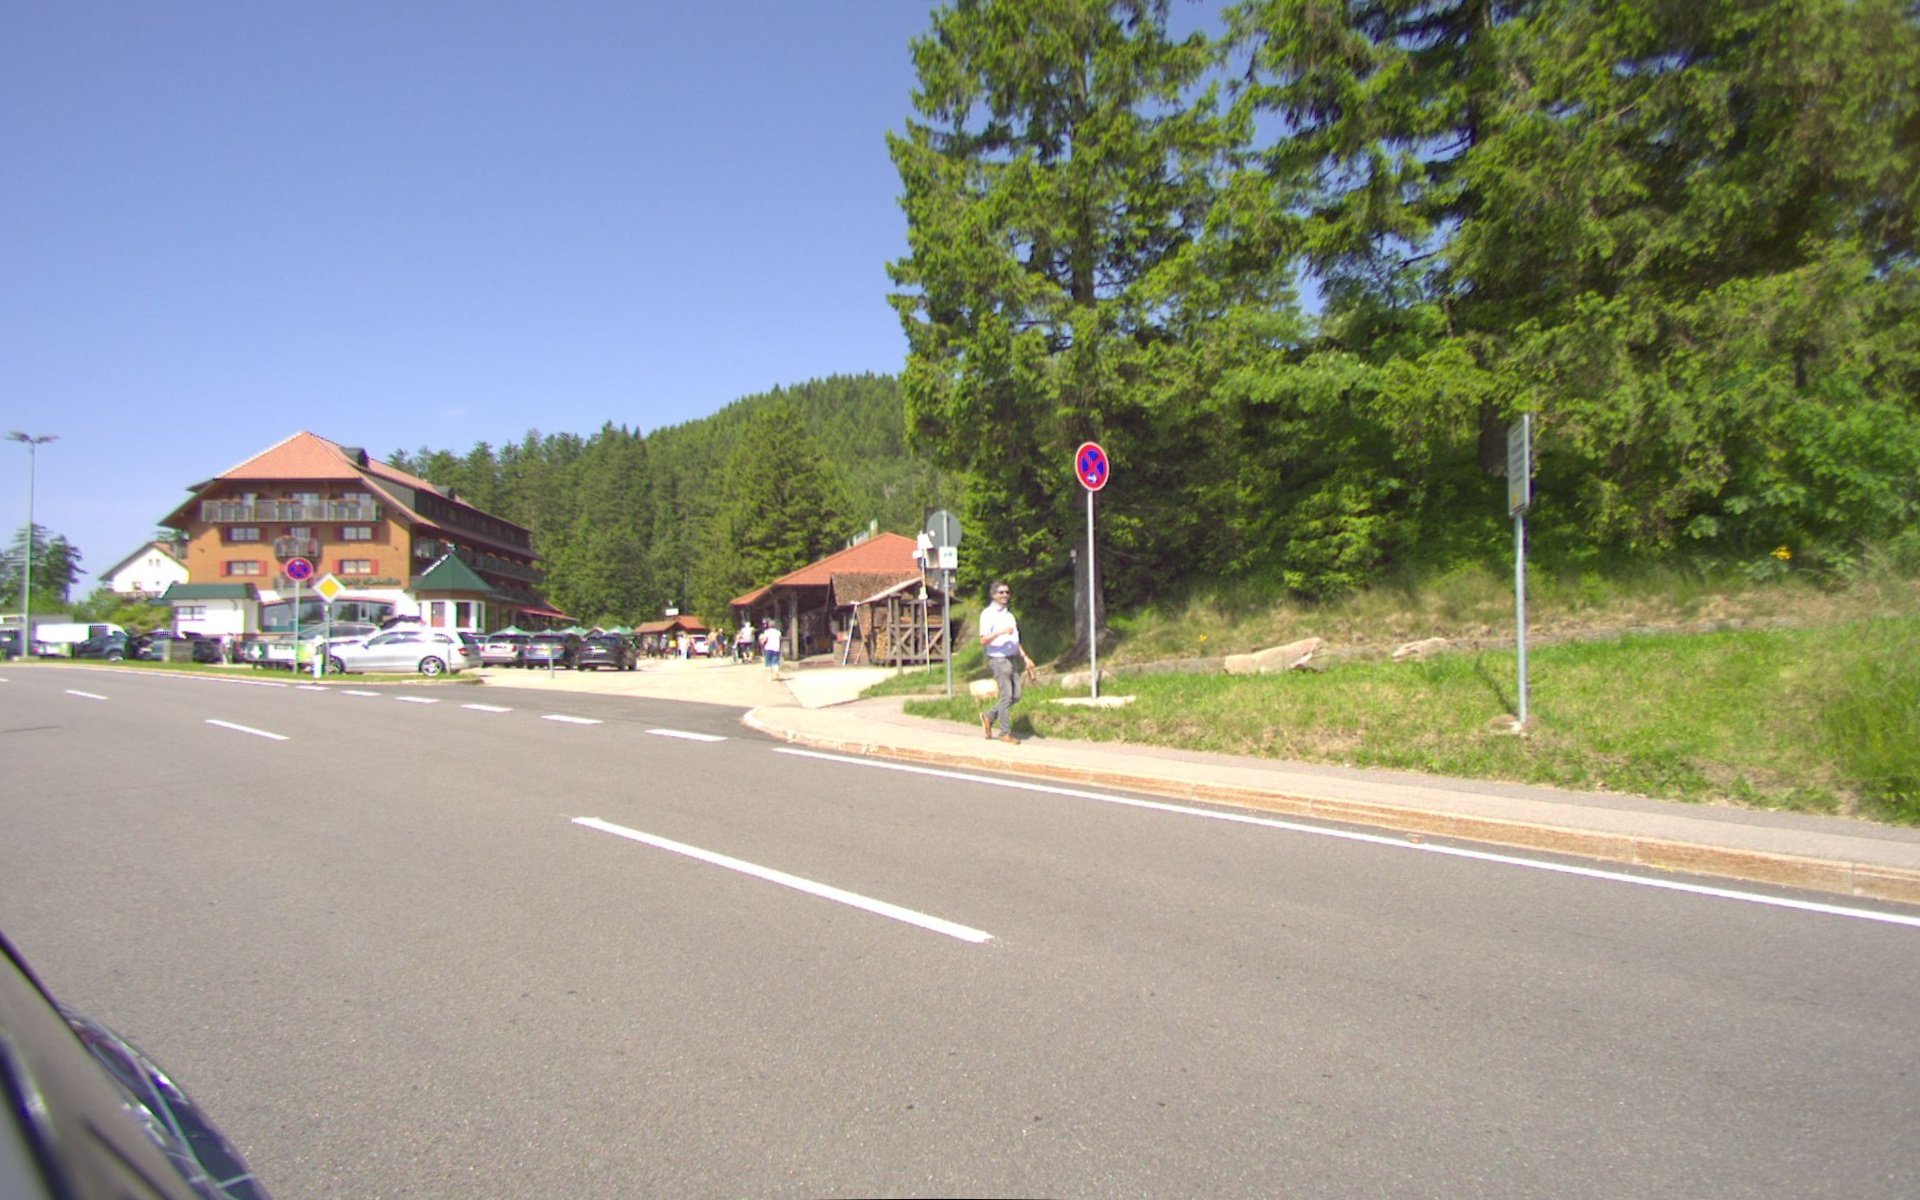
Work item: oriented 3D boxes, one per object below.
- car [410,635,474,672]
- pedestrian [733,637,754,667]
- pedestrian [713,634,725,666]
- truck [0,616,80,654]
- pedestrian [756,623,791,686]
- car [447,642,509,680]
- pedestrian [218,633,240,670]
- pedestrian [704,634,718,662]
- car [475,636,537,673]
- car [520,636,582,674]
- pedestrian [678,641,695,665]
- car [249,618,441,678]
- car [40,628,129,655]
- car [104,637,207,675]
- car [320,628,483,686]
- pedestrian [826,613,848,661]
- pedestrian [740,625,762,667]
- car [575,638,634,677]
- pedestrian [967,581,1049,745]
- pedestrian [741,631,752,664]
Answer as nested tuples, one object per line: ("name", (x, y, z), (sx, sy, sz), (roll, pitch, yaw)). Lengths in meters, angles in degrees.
("car", (-23.971, 2.461, 46.957), (1.688, 1.564, 3.140), (-1, -1, -8))
("pedestrian", (-8.983, 2.140, 41.894), (0.759, 1.206, 0.892), (0, -2, -18))
("pedestrian", (-13.597, 2.812, 57.104), (0.567, 1.779, 0.467), (-1, -1, 4))
("truck", (-75.573, 2.799, 82.033), (2.822, 2.851, 8.785), (-1, 0, -15))
("pedestrian", (-5.230, 1.517, 28.429), (0.899, 1.754, 0.637), (-1, -1, -3))
("car", (-21.602, 2.712, 45.465), (1.703, 1.476, 3.529), (-1, 0, -11))
("pedestrian", (-35.318, 2.477, 48.871), (0.768, 1.712, 0.684), (1, -2, -45))
("pedestrian", (-14.905, 2.860, 60.568), (0.674, 1.687, 0.533), (-1, -1, 4))
("car", (-19.193, 2.289, 42.901), (1.614, 1.445, 3.322), (0, -2, -10))
("car", (-16.548, 2.213, 41.070), (1.691, 1.445, 3.322), (0, -2, -10))
("pedestrian", (-17.447, 3.361, 64.634), (0.971, 1.507, 0.892), (0, -2, -19))
("car", (-20.796, 1.607, 34.487), (5.273, 1.884, 2.006), (0, -1, -16))
("car", (-68.601, 3.219, 79.343), (5.175, 1.920, 2.002), (0, -2, -43))
("car", (-36.488, 2.524, 45.948), (3.285, 1.604, 1.717), (-1, -1, -4))
("car", (-16.495, 1.647, 30.080), (3.899, 1.600, 1.794), (0, -1, -11))
("pedestrian", (-5.305, 1.594, 43.731), (0.882, 2.029, 0.789), (-1, -1, -9))
("pedestrian", (-8.473, 1.844, 41.079), (0.759, 1.679, 0.892), (0, -2, -18))
("car", (-13.919, 2.237, 39.750), (1.685, 1.406, 3.322), (0, -2, -10))
("pedestrian", (0.536, 0.684, 11.318), (0.686, 1.754, 0.573), (-2, -2, 40))
("pedestrian", (-10.807, 2.396, 51.206), (0.514, 1.635, 0.538), (0, -2, -12))
